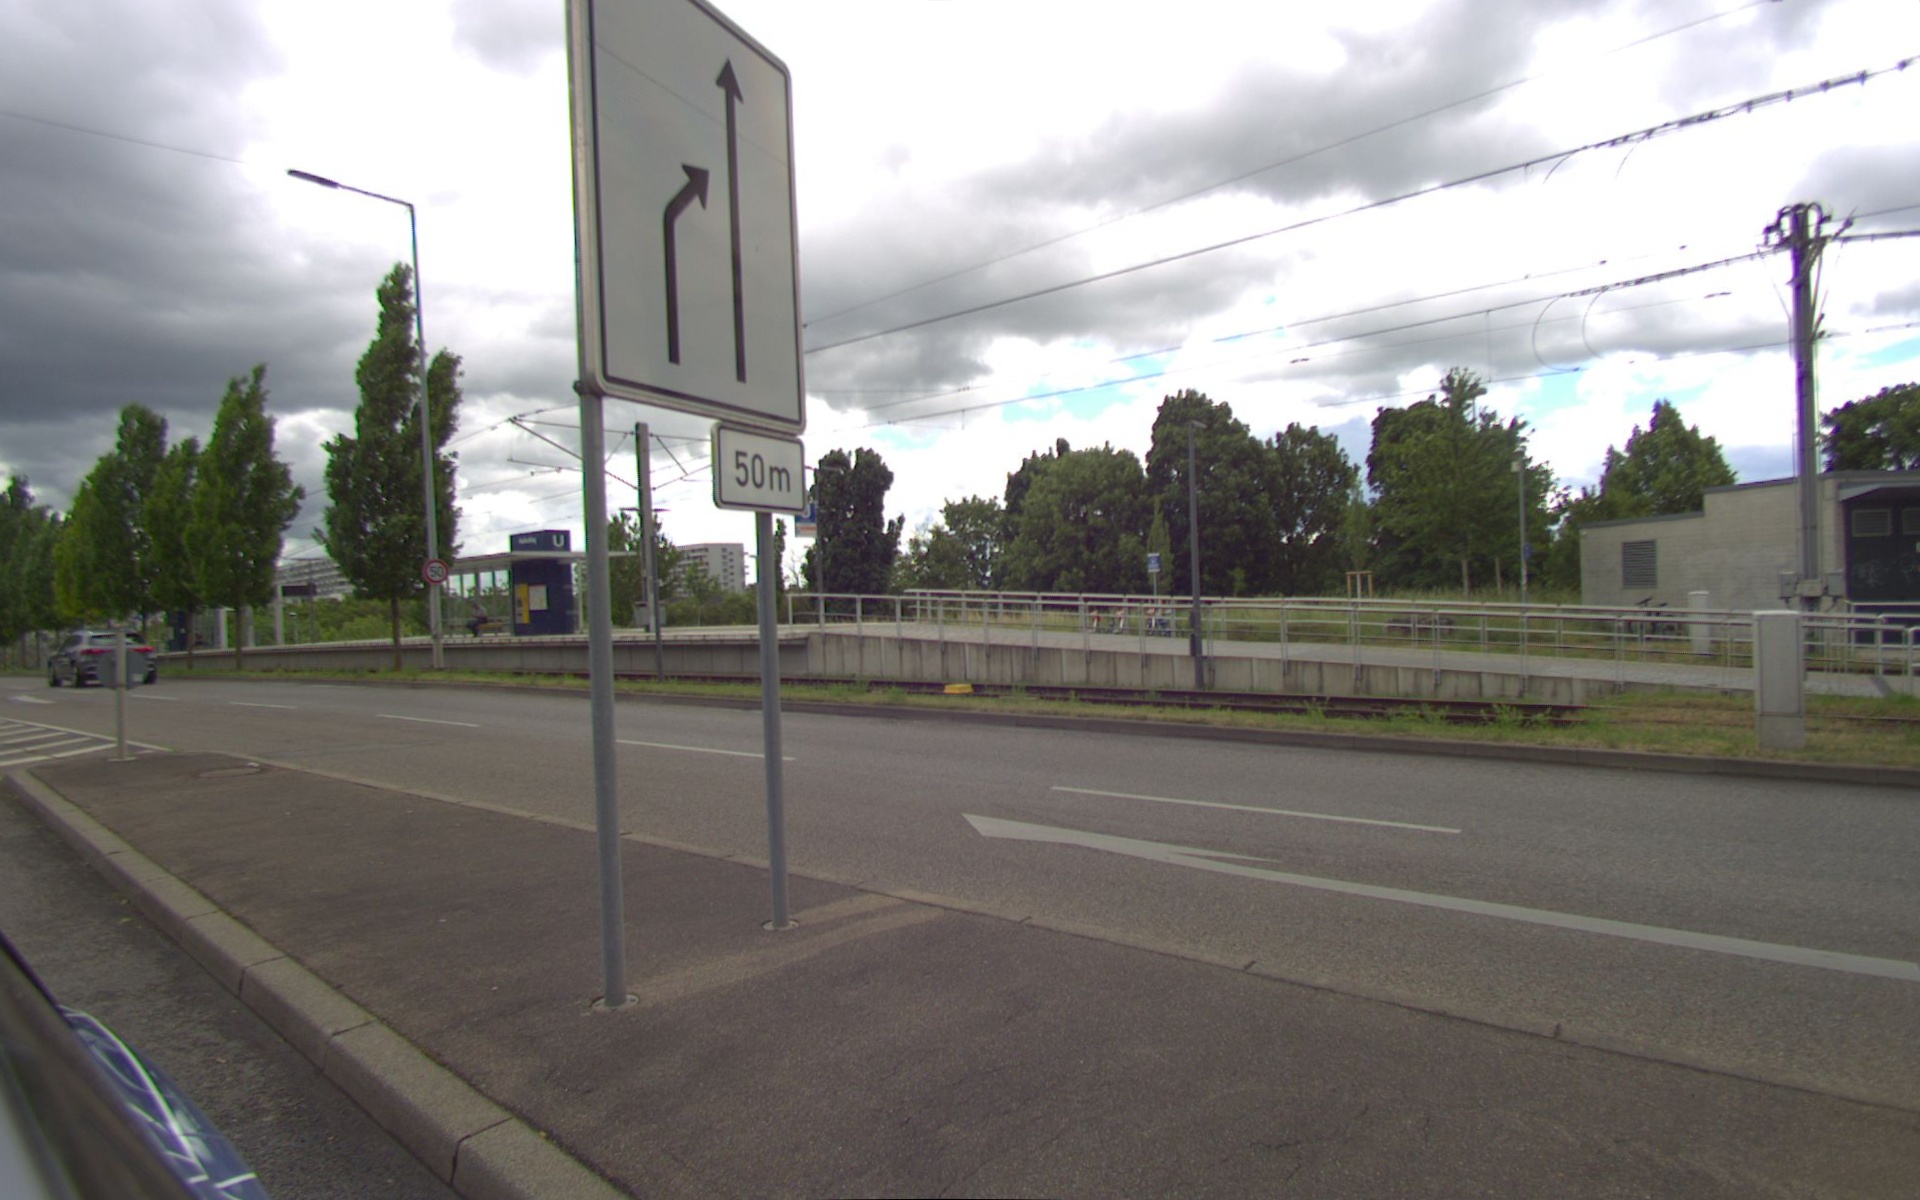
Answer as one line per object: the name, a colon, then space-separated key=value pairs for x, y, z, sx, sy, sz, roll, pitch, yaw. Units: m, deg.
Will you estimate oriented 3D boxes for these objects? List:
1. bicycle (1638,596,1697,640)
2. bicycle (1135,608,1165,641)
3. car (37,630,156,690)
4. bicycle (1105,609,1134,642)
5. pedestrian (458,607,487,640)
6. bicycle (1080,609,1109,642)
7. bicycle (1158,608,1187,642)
bicycle: x=18.195 y=0.456 z=26.063 sx=0.486 sy=1.095 sz=1.480 roll=-1 pitch=-1 yaw=3
bicycle: x=6.381 y=0.814 z=33.952 sx=0.490 sy=1.095 sz=1.466 roll=-2 pitch=-1 yaw=30
car: x=-25.063 y=1.690 z=29.326 sx=4.217 sy=1.558 sz=1.762 roll=-2 pitch=-1 yaw=37
bicycle: x=5.440 y=0.865 z=34.463 sx=0.490 sy=1.095 sz=1.466 roll=-2 pitch=-1 yaw=30
pedestrian: x=-18.250 y=0.877 z=37.879 sx=0.781 sy=1.211 sz=0.656 roll=-2 pitch=-1 yaw=33
bicycle: x=4.683 y=0.881 z=35.165 sx=0.490 sy=1.095 sz=1.466 roll=-2 pitch=-1 yaw=30
bicycle: x=7.046 y=0.814 z=33.472 sx=0.490 sy=1.095 sz=1.466 roll=-2 pitch=-1 yaw=30
